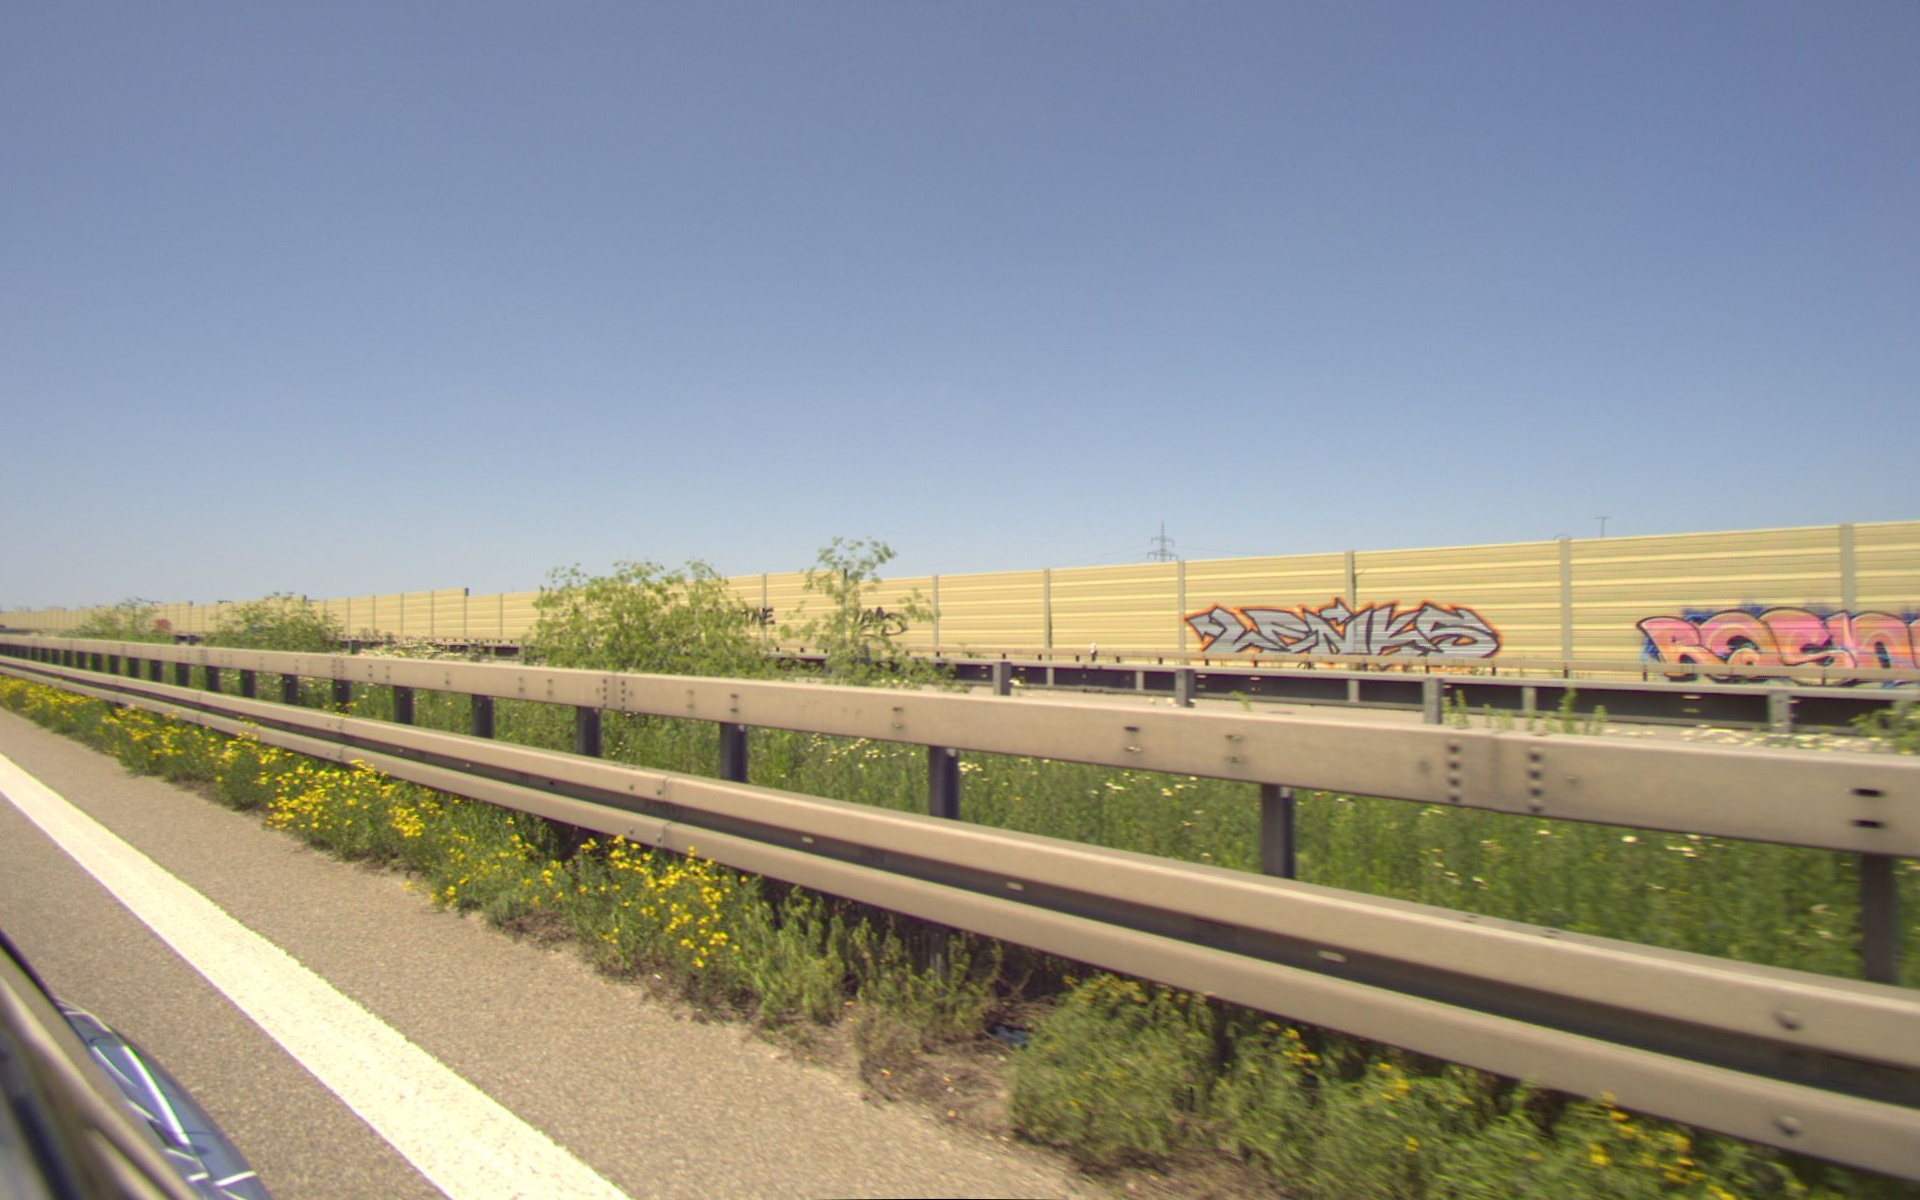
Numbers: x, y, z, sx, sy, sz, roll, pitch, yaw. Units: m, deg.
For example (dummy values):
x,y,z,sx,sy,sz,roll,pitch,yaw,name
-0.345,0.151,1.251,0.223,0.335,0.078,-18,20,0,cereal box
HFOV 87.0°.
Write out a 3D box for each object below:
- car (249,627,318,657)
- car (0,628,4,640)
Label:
x,y,z,sx,sy,sz,roll,pitch,yaw,name
-34.837,2.142,52.087,3.997,1.431,1.973,-1,0,41,car
-122.742,4.364,128.367,4.481,1.420,1.701,-1,0,41,car
